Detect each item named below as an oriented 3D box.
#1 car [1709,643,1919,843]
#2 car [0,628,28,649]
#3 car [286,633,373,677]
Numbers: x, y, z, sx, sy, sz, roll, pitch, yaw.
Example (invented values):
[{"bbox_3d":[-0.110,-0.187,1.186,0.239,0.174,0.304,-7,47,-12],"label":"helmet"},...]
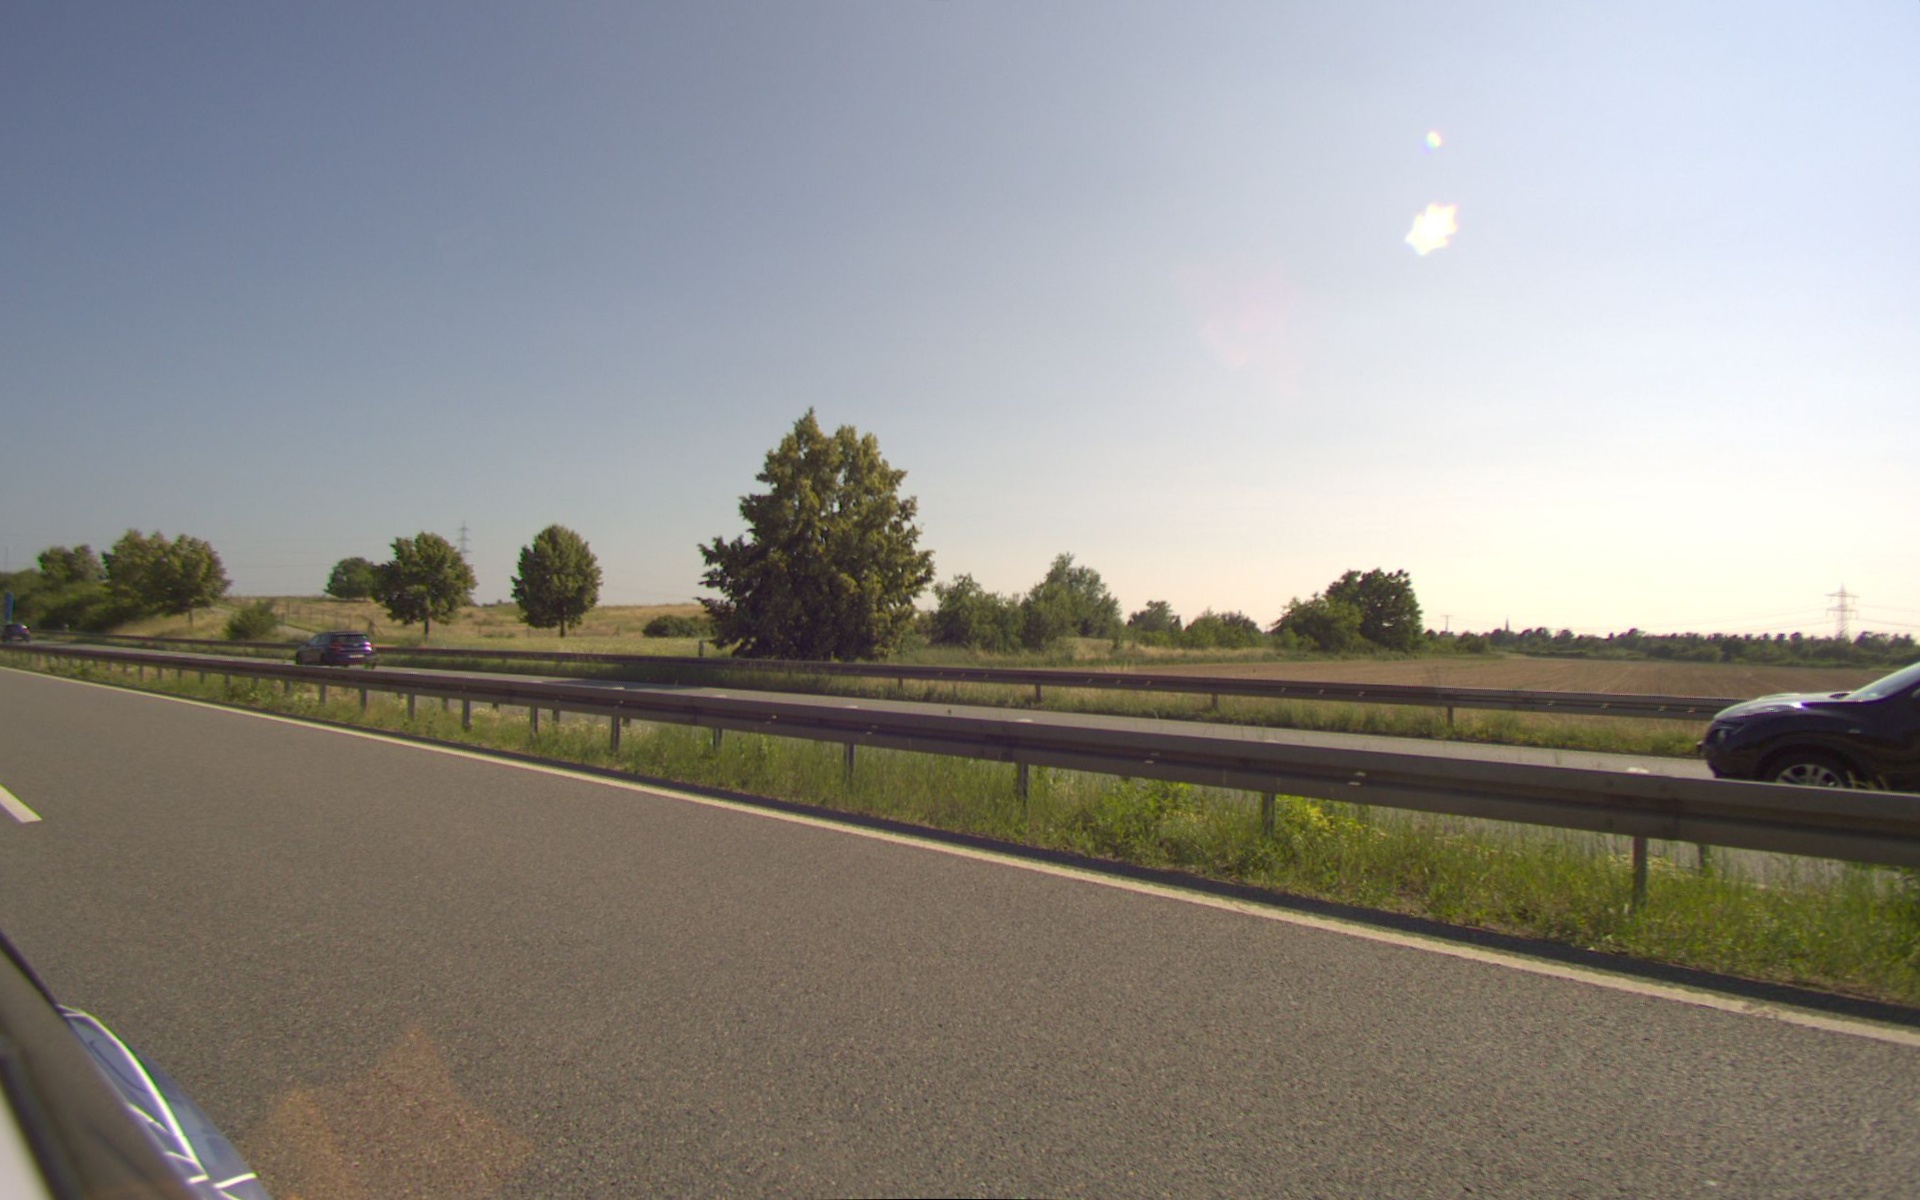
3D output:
[{"bbox_3d":[8.732,1.140,8.090,4.243,1.553,1.671,-2,-3,43],"label":"car"},{"bbox_3d":[-74.111,2.976,78.722,3.995,1.545,1.737,-1,-1,38],"label":"car"},{"bbox_3d":[-24.563,2.098,39.349,4.559,1.565,1.634,-2,-1,41],"label":"car"}]
